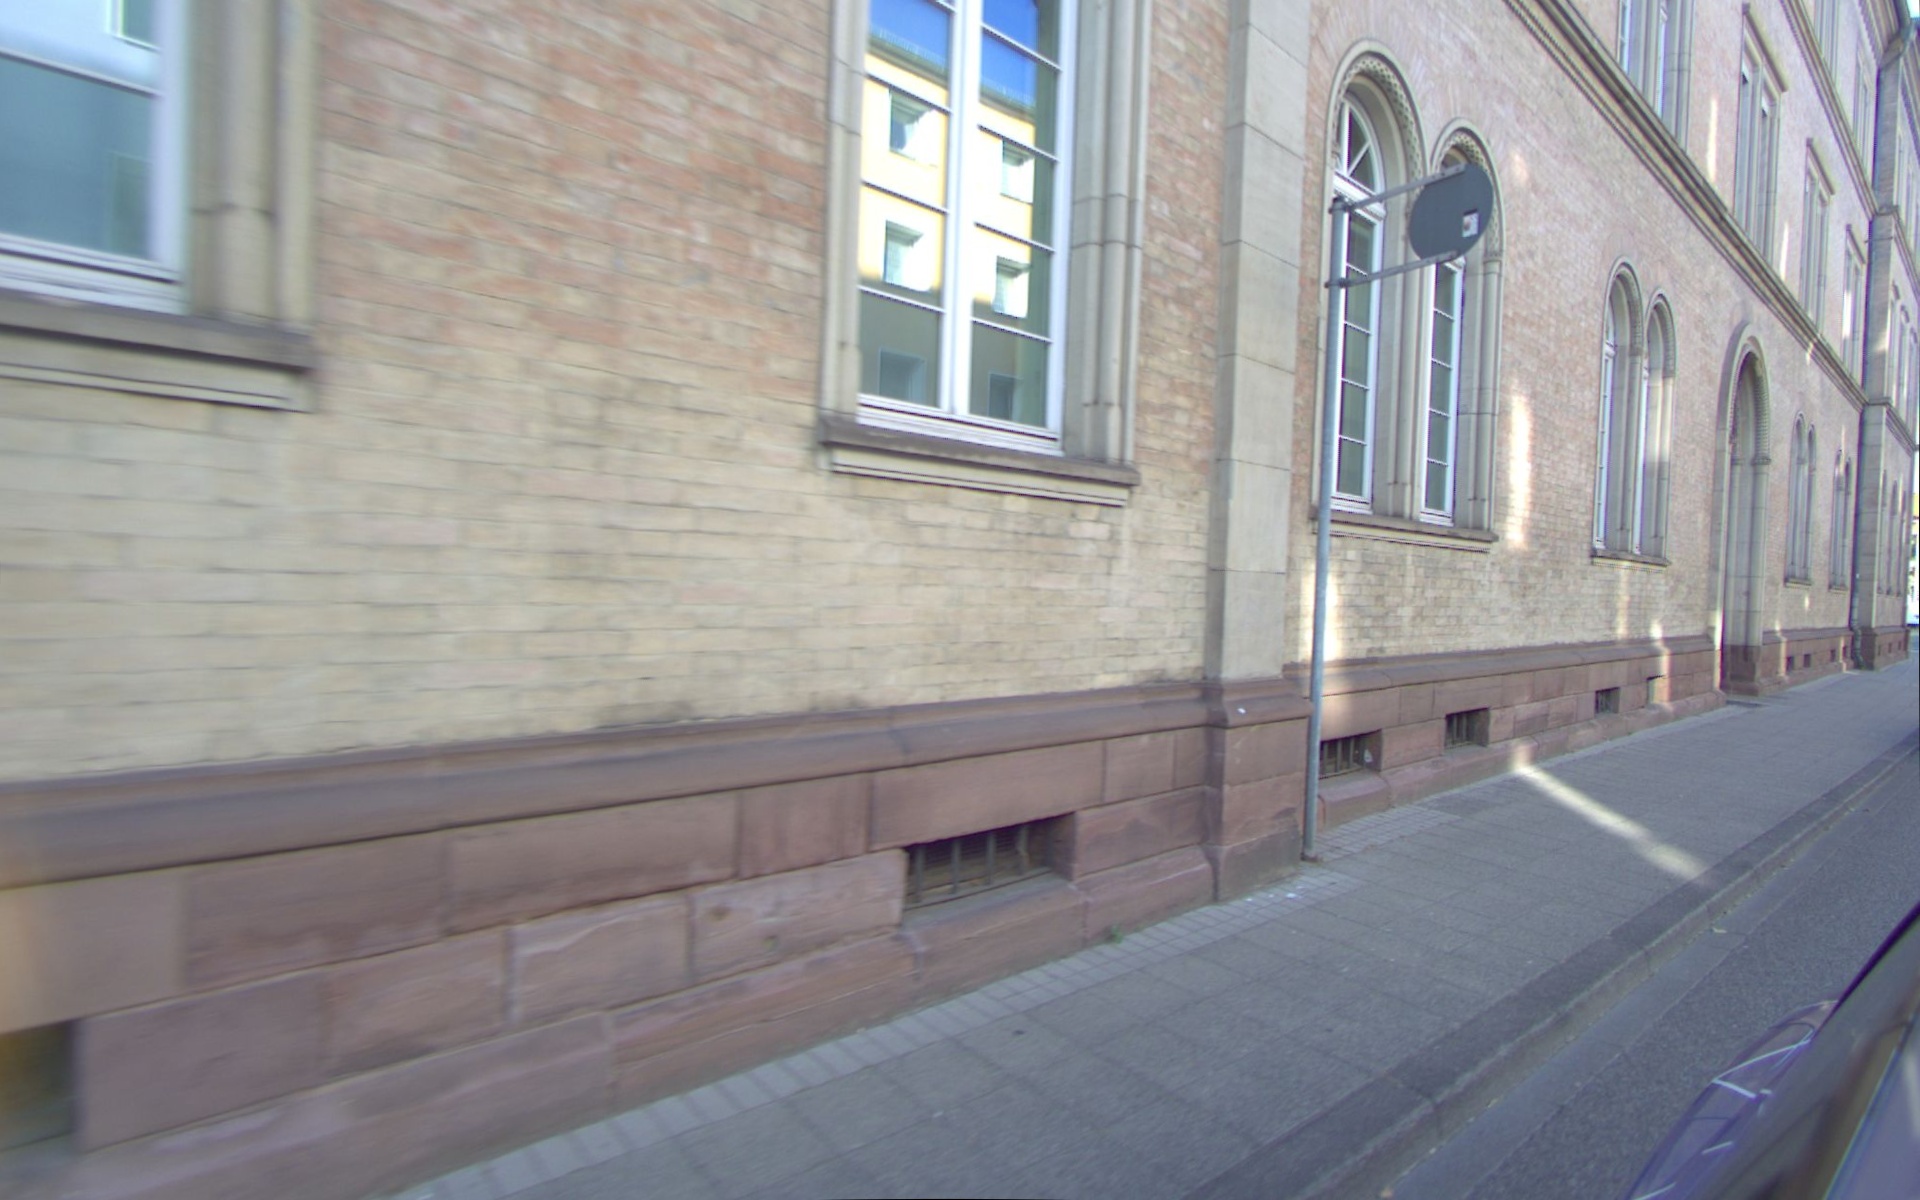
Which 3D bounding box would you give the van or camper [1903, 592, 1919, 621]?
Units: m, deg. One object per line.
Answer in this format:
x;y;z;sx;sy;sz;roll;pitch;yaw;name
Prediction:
70.075;0.468;73.156;2.150;2.038;4.912;3;2;36;van or camper

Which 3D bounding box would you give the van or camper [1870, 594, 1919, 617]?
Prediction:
94.177;0.571;100.853;4.686;2.113;1.982;2;1;27;van or camper

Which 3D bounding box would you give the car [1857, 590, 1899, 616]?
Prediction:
74.651;0.247;82.378;1.988;2.039;3.949;2;1;35;car
